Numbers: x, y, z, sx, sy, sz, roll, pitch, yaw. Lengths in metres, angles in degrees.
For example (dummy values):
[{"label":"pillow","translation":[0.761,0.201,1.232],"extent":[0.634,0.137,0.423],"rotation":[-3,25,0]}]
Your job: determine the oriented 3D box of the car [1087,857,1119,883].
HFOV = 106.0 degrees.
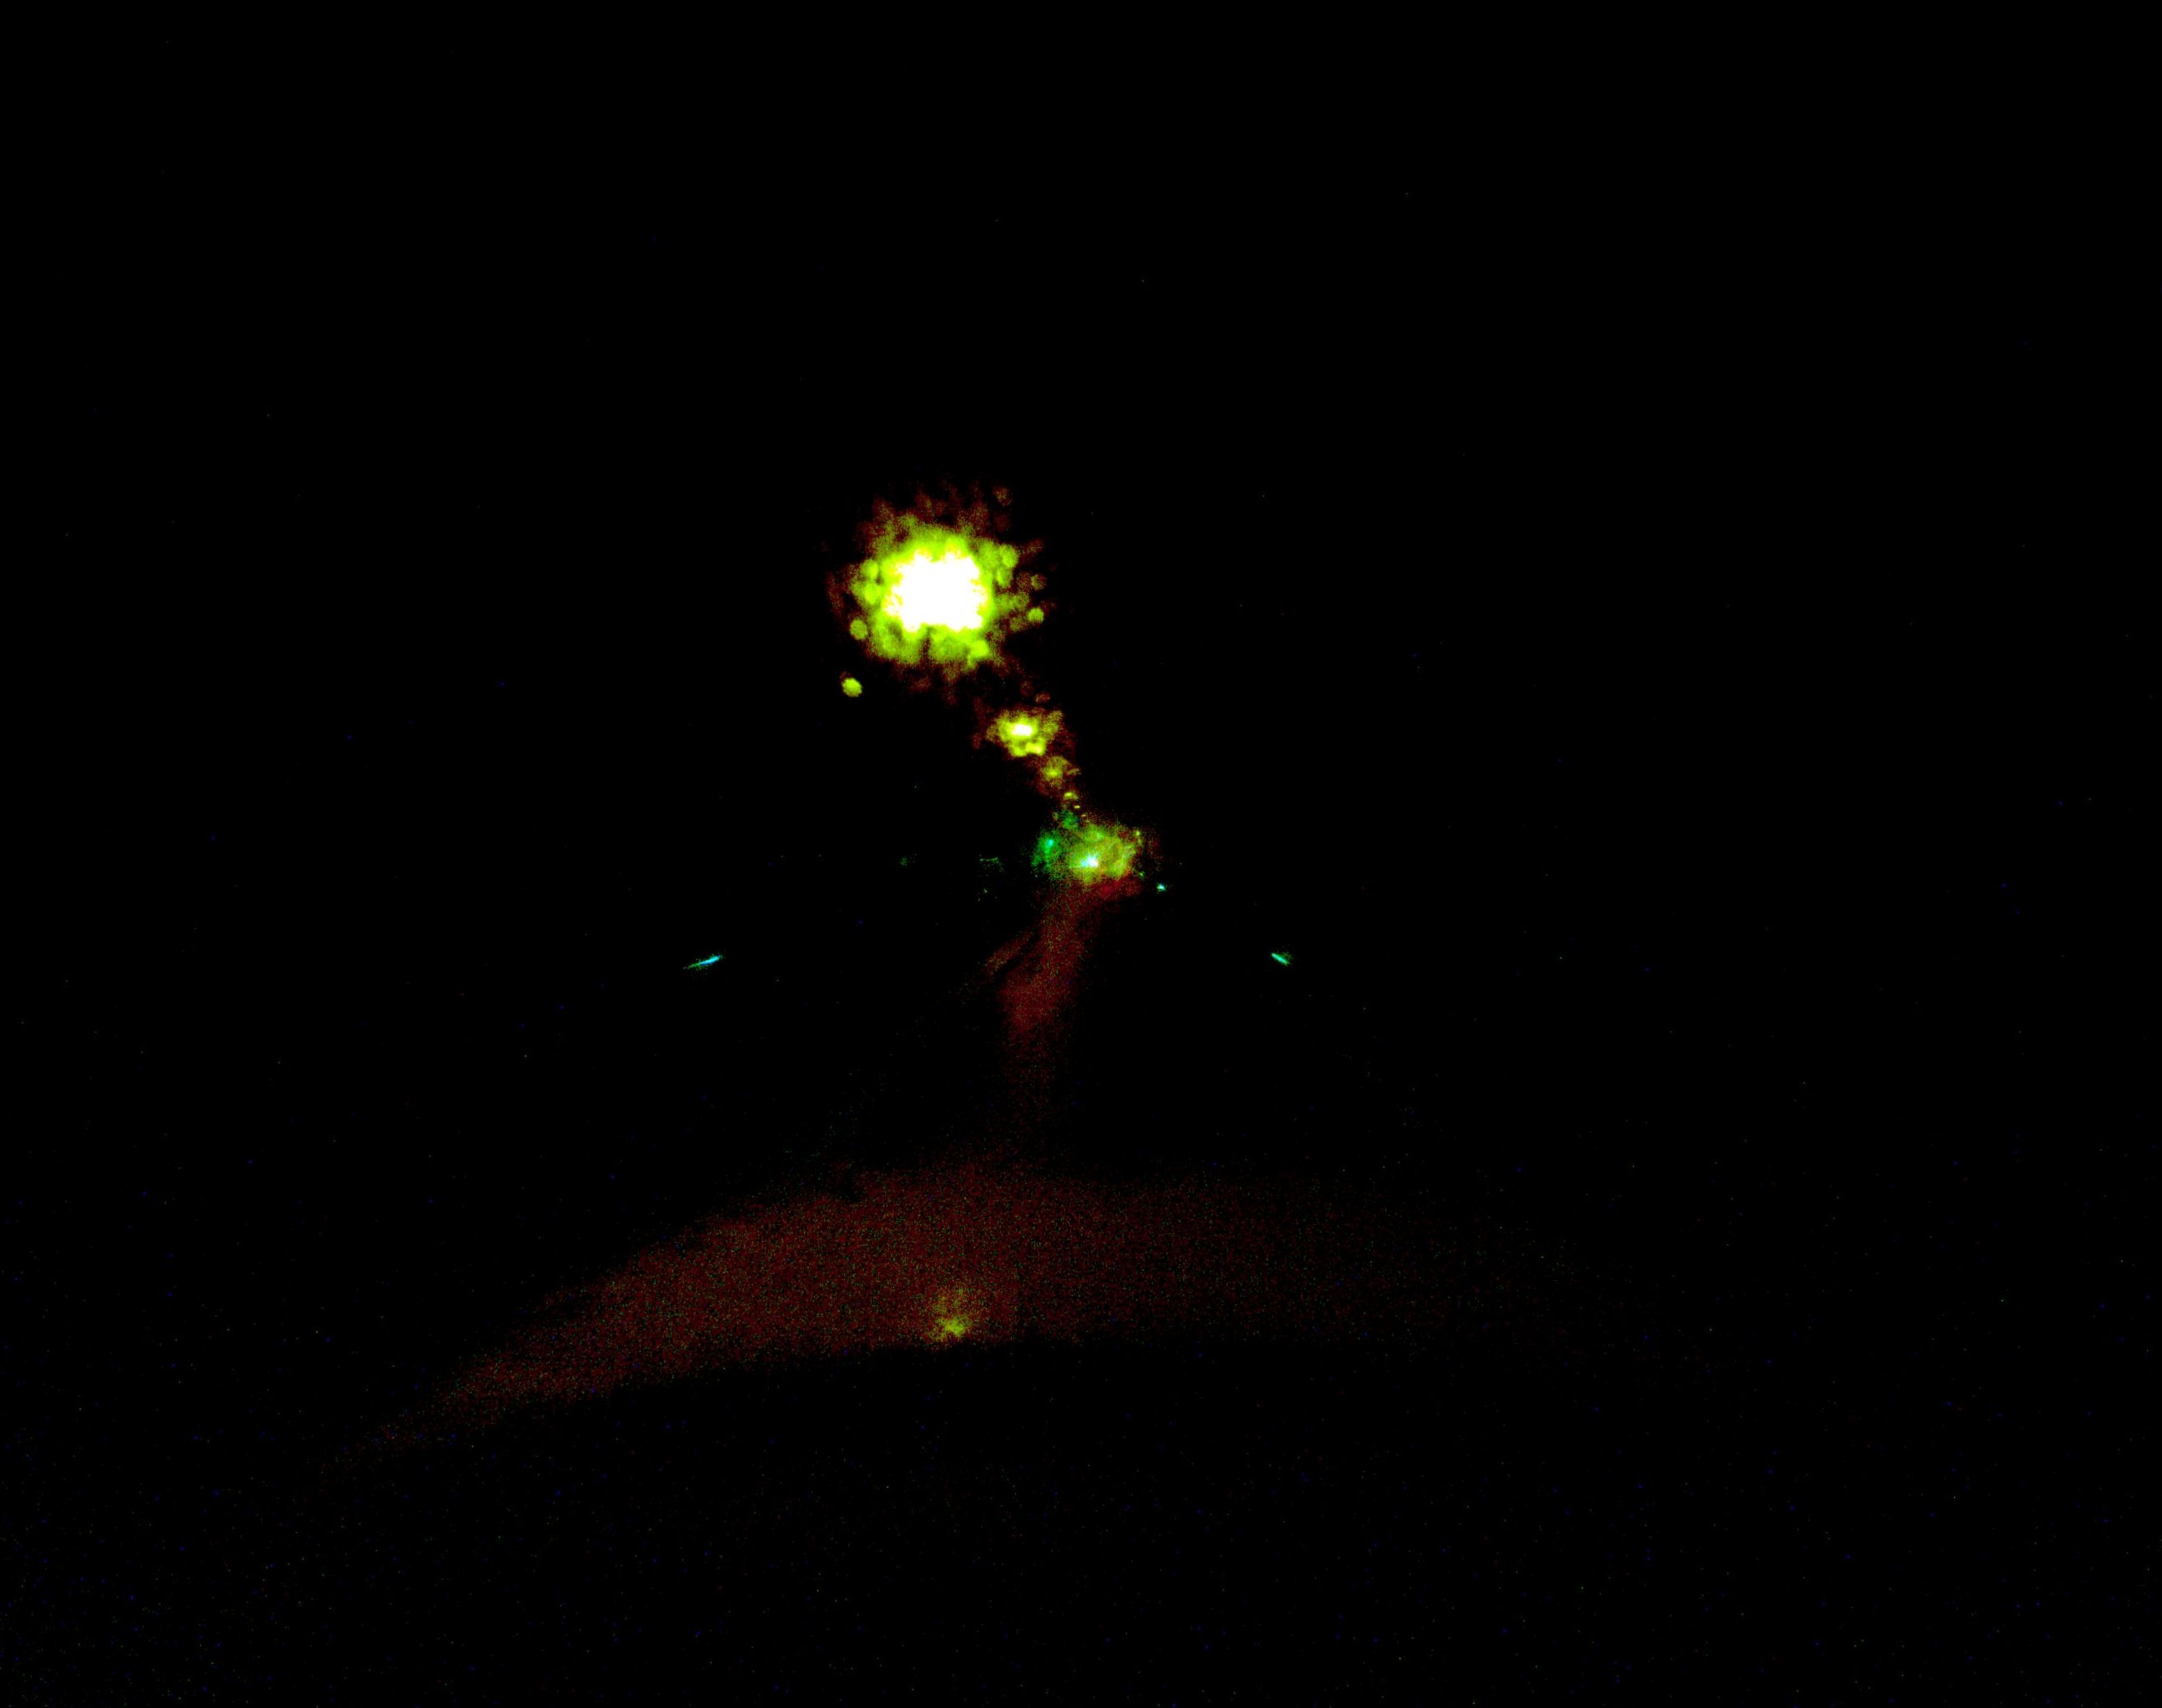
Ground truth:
[{"label":"car","translation":[1.503,1.055,55.390],"extent":[2.082,1.662,4.001],"rotation":[-1,-1,1]}]
